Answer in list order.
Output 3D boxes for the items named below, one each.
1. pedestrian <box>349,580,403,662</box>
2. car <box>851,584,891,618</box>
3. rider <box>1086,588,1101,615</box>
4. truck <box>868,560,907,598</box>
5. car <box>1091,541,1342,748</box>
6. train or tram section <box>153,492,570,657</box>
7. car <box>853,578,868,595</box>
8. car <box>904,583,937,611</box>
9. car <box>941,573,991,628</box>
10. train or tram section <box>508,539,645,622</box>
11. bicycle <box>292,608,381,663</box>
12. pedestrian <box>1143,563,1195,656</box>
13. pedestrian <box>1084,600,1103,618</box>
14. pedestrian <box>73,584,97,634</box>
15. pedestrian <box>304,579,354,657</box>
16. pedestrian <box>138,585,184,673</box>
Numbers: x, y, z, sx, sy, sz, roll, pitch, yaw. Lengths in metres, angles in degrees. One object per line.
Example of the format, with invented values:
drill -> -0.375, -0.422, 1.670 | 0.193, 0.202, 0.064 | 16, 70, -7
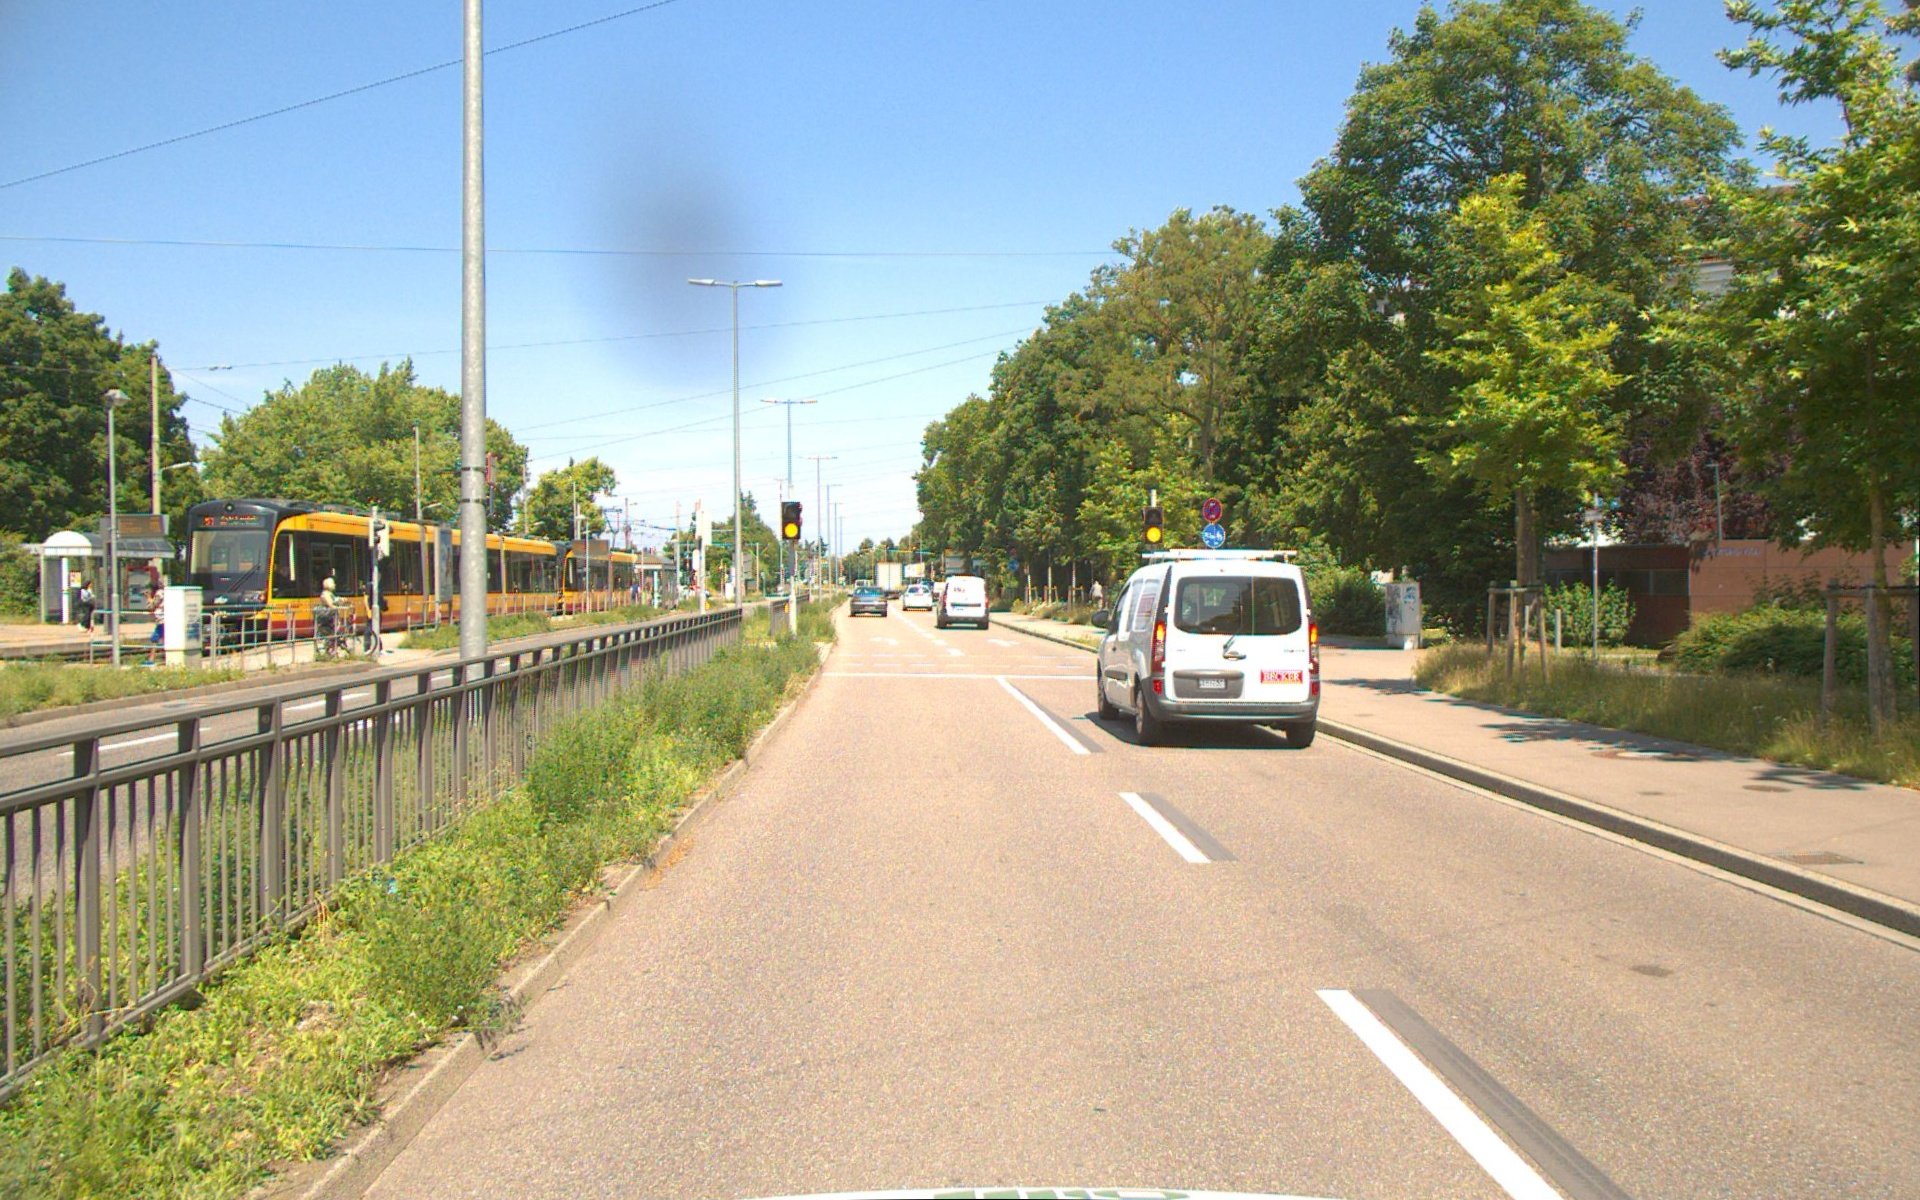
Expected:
pedestrian -> -13.270, 0.471, 37.565 | 0.939, 1.828, 0.705 | 0, 0, 26
car -> -4.138, 0.019, 76.766 | 1.766, 1.512, 3.997 | 0, 1, -3
rider -> 6.357, 0.062, 78.634 | 0.664, 1.304, 0.533 | 0, 0, -4
truck -> -7.647, -2.183, 172.854 | 3.822, 3.879, 10.785 | 0, 1, -4
car -> 2.573, 0.398, 17.641 | 1.787, 1.914, 4.453 | 1, 0, -3
train or tram section -> -17.990, -0.734, 56.236 | 2.732, 3.732, 37.493 | 0, 0, -3
car -> -11.398, -1.587, 189.152 | 1.654, 1.930, 3.867 | 0, 1, -4
car -> -2.360, -0.191, 98.119 | 1.767, 1.566, 3.997 | 0, 0, -4
car -> 0.220, -0.019, 58.524 | 1.692, 1.845, 4.001 | 1, 1, 1
train or tram section -> -19.834, -0.984, 87.906 | 2.732, 3.732, 25.981 | 0, 0, -3
bicycle -> -13.357, 0.759, 35.443 | 1.824, 1.177, 0.242 | 0, 0, 1
pedestrian -> 4.329, 0.192, 34.143 | 1.024, 1.882, 0.758 | 0, 0, 10
pedestrian -> 6.344, 0.425, 78.693 | 0.664, 0.862, 1.772 | 0, 0, -4
pedestrian -> -25.889, 0.253, 48.963 | 0.452, 1.461, 0.524 | 0, 0, -5
pedestrian -> -13.568, 0.389, 35.572 | 0.802, 1.657, 0.705 | 0, 0, 2
pedestrian -> -14.568, 0.513, 30.148 | 0.533, 1.568, 0.855 | -1, 0, -42
